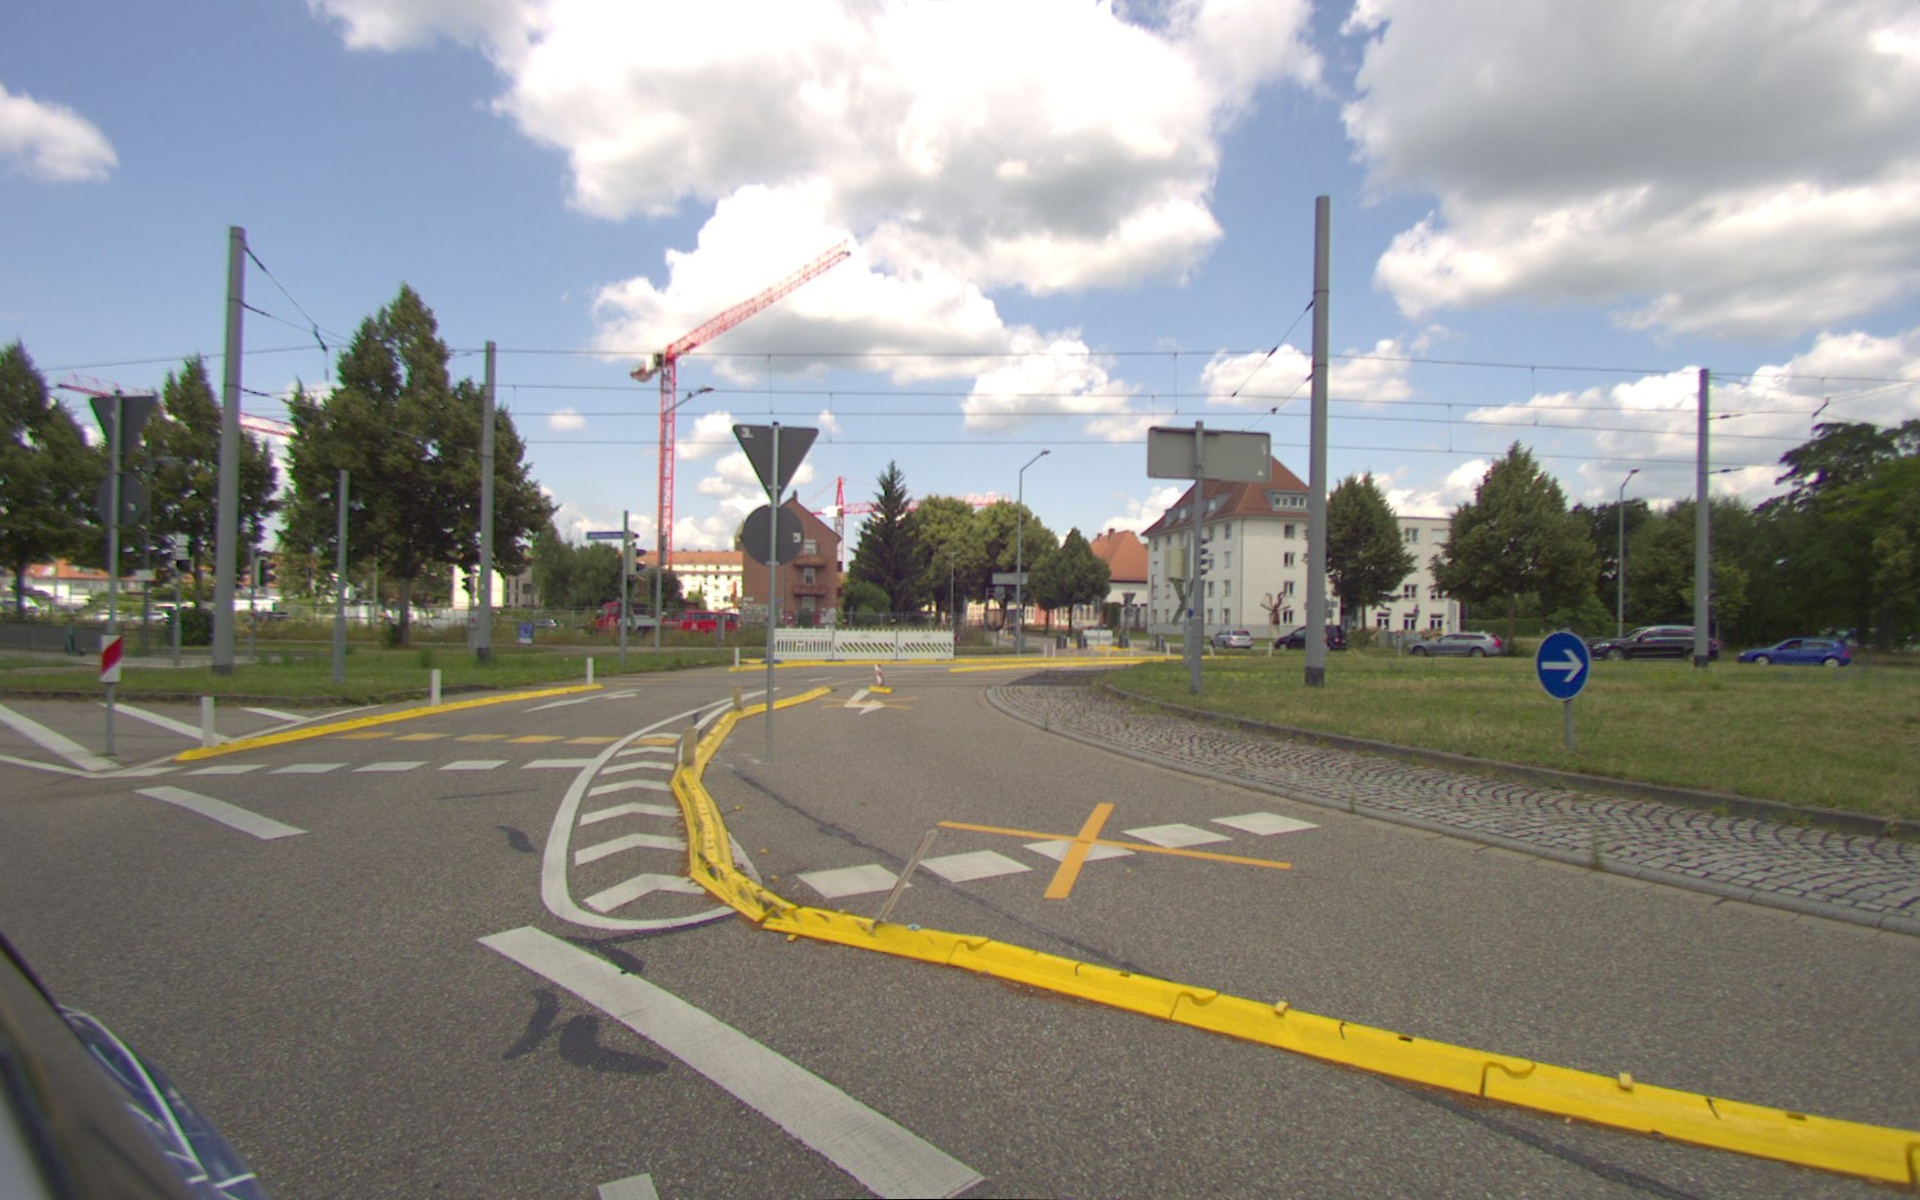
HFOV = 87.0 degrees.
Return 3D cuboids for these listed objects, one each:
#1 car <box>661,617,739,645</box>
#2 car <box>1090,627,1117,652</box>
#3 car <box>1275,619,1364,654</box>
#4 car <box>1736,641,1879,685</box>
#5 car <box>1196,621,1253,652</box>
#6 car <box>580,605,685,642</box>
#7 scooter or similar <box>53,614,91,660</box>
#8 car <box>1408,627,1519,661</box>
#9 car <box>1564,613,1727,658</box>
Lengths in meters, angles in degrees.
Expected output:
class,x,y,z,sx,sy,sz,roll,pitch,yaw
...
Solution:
class,x,y,z,sx,sy,sz,roll,pitch,yaw
car,-17.671,2.078,68.712,5.161,1.866,2.067,0,-1,29
car,12.442,3.413,87.946,1.975,2.029,4.719,0,-1,4
car,21.647,2.166,61.037,4.727,2.029,1.971,-1,-2,44
car,38.238,2.798,45.833,4.709,1.804,1.829,0,-1,32
car,17.864,2.432,68.610,1.968,2.029,4.735,1,-1,-10
car,-20.186,1.426,62.275,6.818,2.214,2.368,0,-1,33
scooter or similar,-27.081,1.118,30.853,1.340,1.312,0.415,3,0,30
car,26.942,2.333,54.247,4.942,1.638,2.038,-1,0,42
car,27.368,1.402,40.605,5.031,1.687,1.987,0,-1,19
